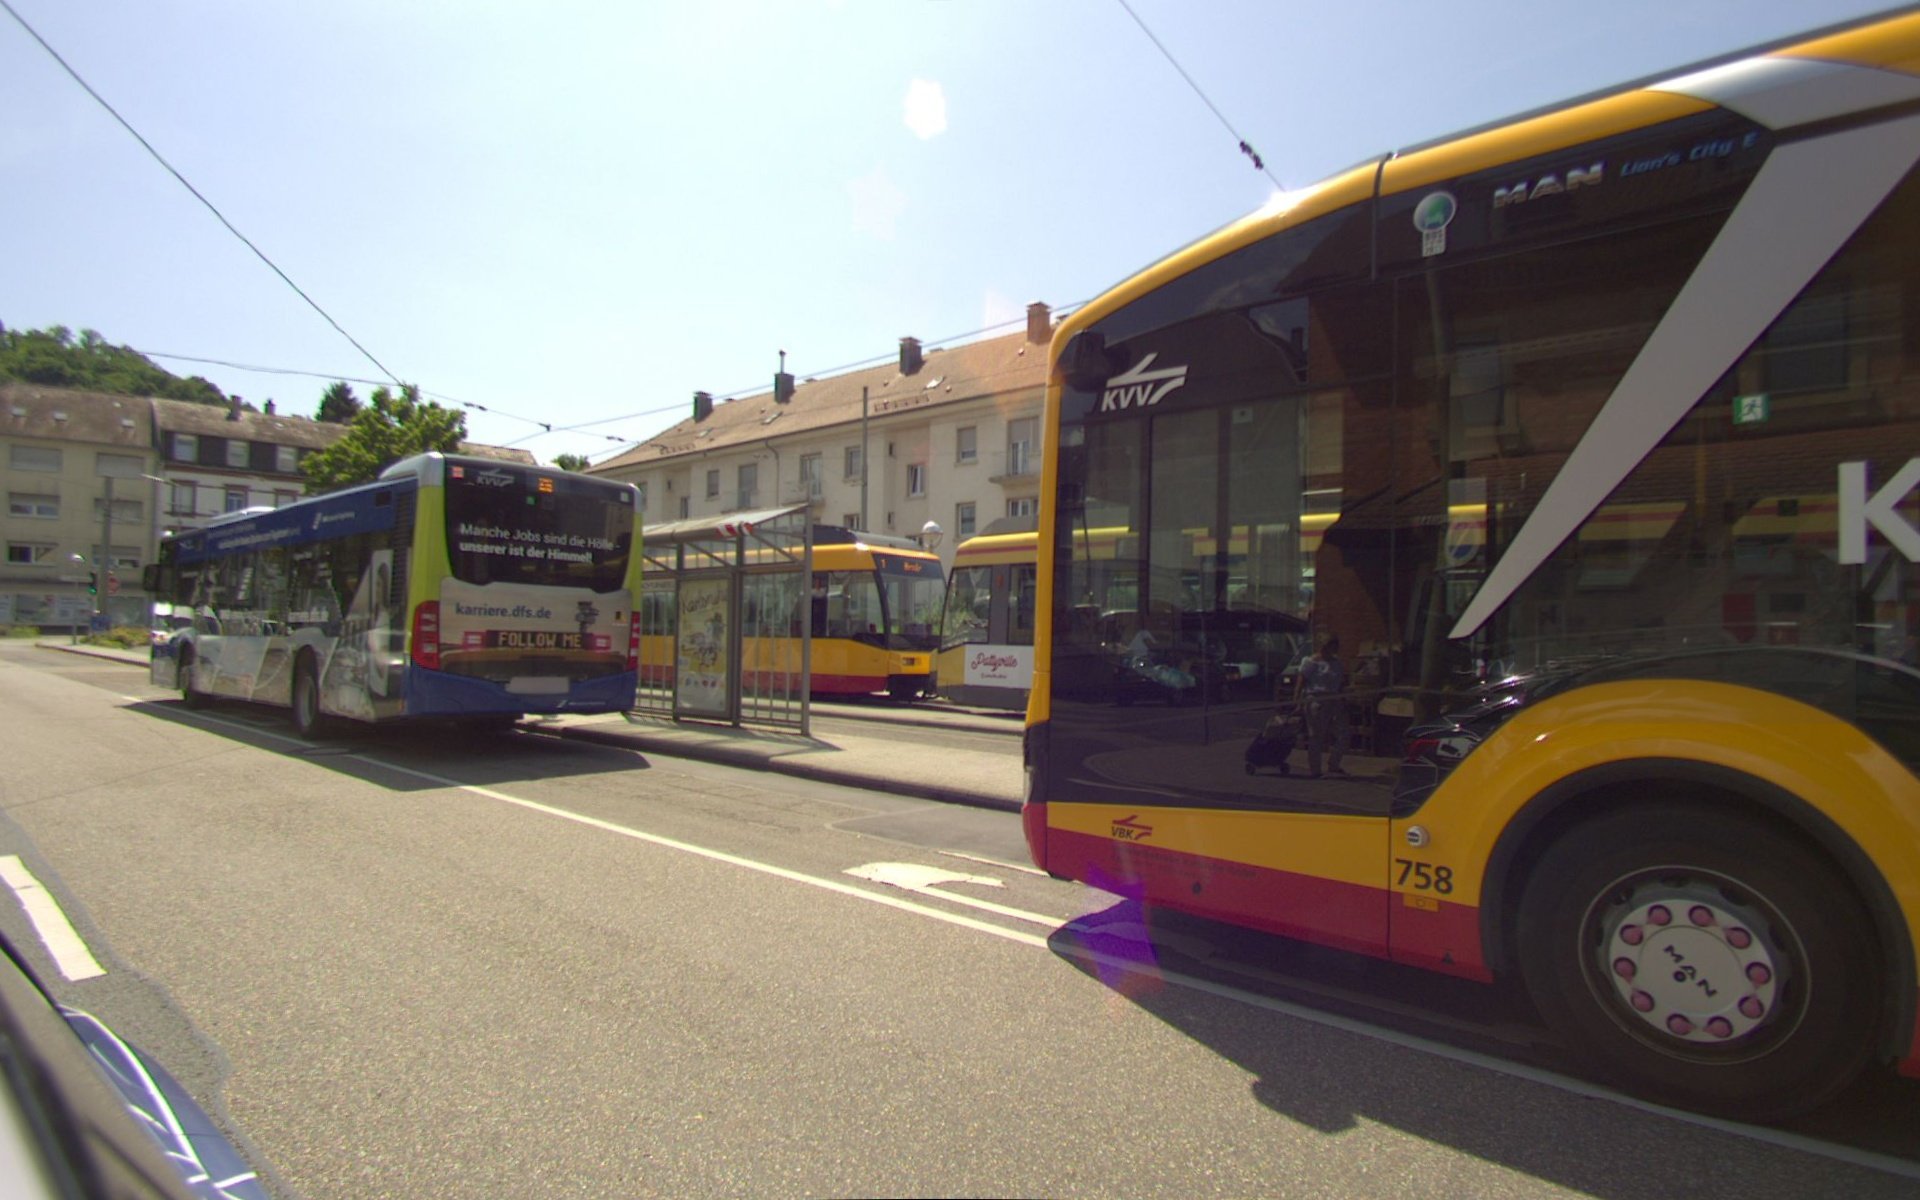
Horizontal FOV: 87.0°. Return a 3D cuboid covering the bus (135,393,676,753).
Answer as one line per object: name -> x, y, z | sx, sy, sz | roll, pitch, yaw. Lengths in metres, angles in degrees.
bus -> -8.836, -0.119, 14.733 | 12.032, 3.453, 2.878 | -2, -1, 41

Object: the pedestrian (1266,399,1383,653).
pedestrian -> 2.691, -0.523, 7.536 | 0.566, 1.790, 0.783 | 0, 0, -1

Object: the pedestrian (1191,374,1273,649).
pedestrian -> 1.846, -0.580, 6.915 | 0.380, 1.790, 0.594 | 0, 0, -1

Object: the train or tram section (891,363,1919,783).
train or tram section -> 6.290, -0.203, 12.660 | 17.343, 3.670, 2.932 | -1, -1, 41

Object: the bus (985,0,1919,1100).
bus -> 5.605, -0.362, 1.597 | 12.193, 3.272, 2.867 | 1, 0, 42

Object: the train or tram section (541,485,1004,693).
train or tram section -> -4.863, -0.131, 22.480 | 12.651, 3.521, 2.932 | -1, -1, 41
